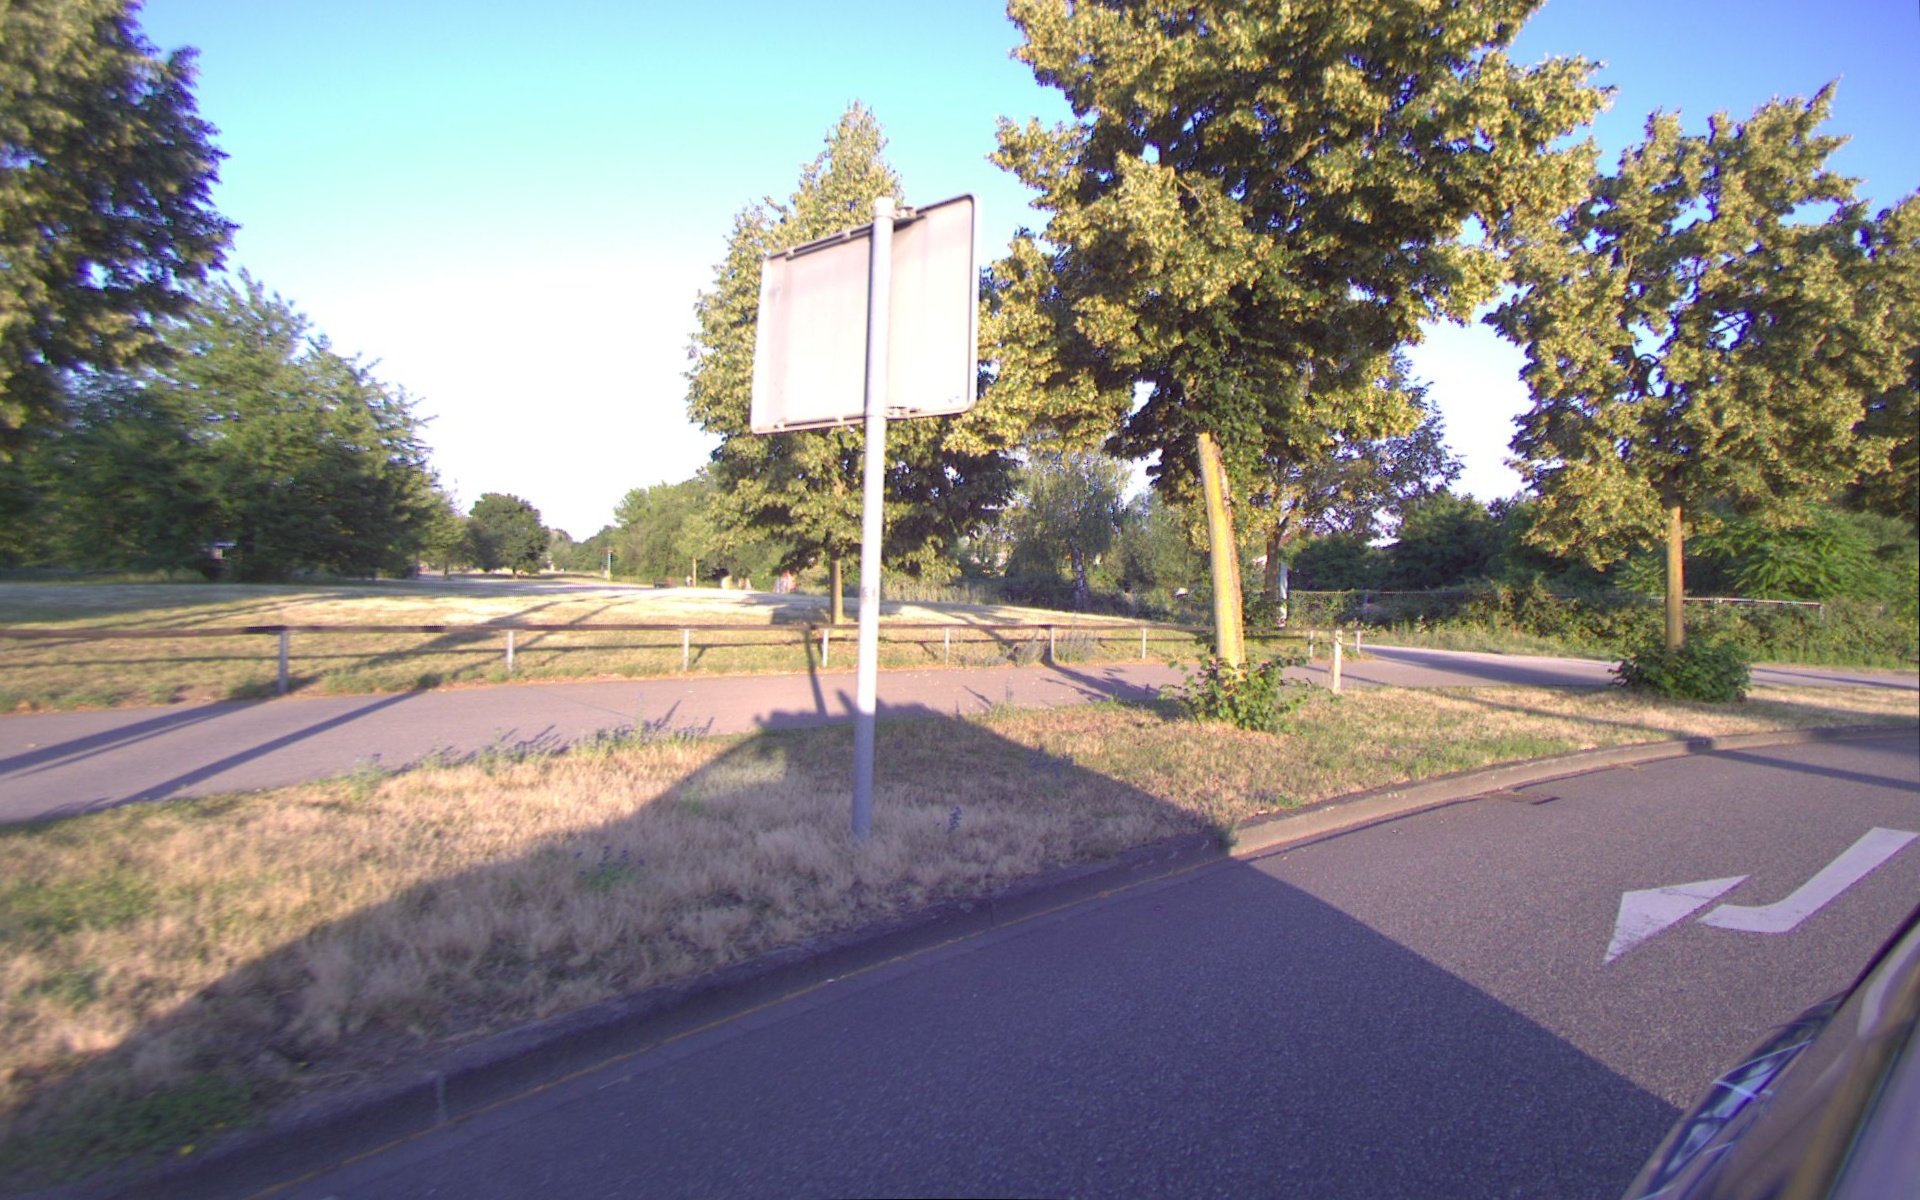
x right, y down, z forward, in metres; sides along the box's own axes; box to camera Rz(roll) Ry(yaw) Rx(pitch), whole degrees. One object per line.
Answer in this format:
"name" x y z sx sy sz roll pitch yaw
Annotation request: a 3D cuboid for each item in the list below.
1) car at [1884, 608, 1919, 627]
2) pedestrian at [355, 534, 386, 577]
"car" 86.371 1.604 92.098 1.976 1.566 4.102 2 1 21
"pedestrian" -27.154 -2.044 46.628 0.892 1.887 1.107 2 0 -11
